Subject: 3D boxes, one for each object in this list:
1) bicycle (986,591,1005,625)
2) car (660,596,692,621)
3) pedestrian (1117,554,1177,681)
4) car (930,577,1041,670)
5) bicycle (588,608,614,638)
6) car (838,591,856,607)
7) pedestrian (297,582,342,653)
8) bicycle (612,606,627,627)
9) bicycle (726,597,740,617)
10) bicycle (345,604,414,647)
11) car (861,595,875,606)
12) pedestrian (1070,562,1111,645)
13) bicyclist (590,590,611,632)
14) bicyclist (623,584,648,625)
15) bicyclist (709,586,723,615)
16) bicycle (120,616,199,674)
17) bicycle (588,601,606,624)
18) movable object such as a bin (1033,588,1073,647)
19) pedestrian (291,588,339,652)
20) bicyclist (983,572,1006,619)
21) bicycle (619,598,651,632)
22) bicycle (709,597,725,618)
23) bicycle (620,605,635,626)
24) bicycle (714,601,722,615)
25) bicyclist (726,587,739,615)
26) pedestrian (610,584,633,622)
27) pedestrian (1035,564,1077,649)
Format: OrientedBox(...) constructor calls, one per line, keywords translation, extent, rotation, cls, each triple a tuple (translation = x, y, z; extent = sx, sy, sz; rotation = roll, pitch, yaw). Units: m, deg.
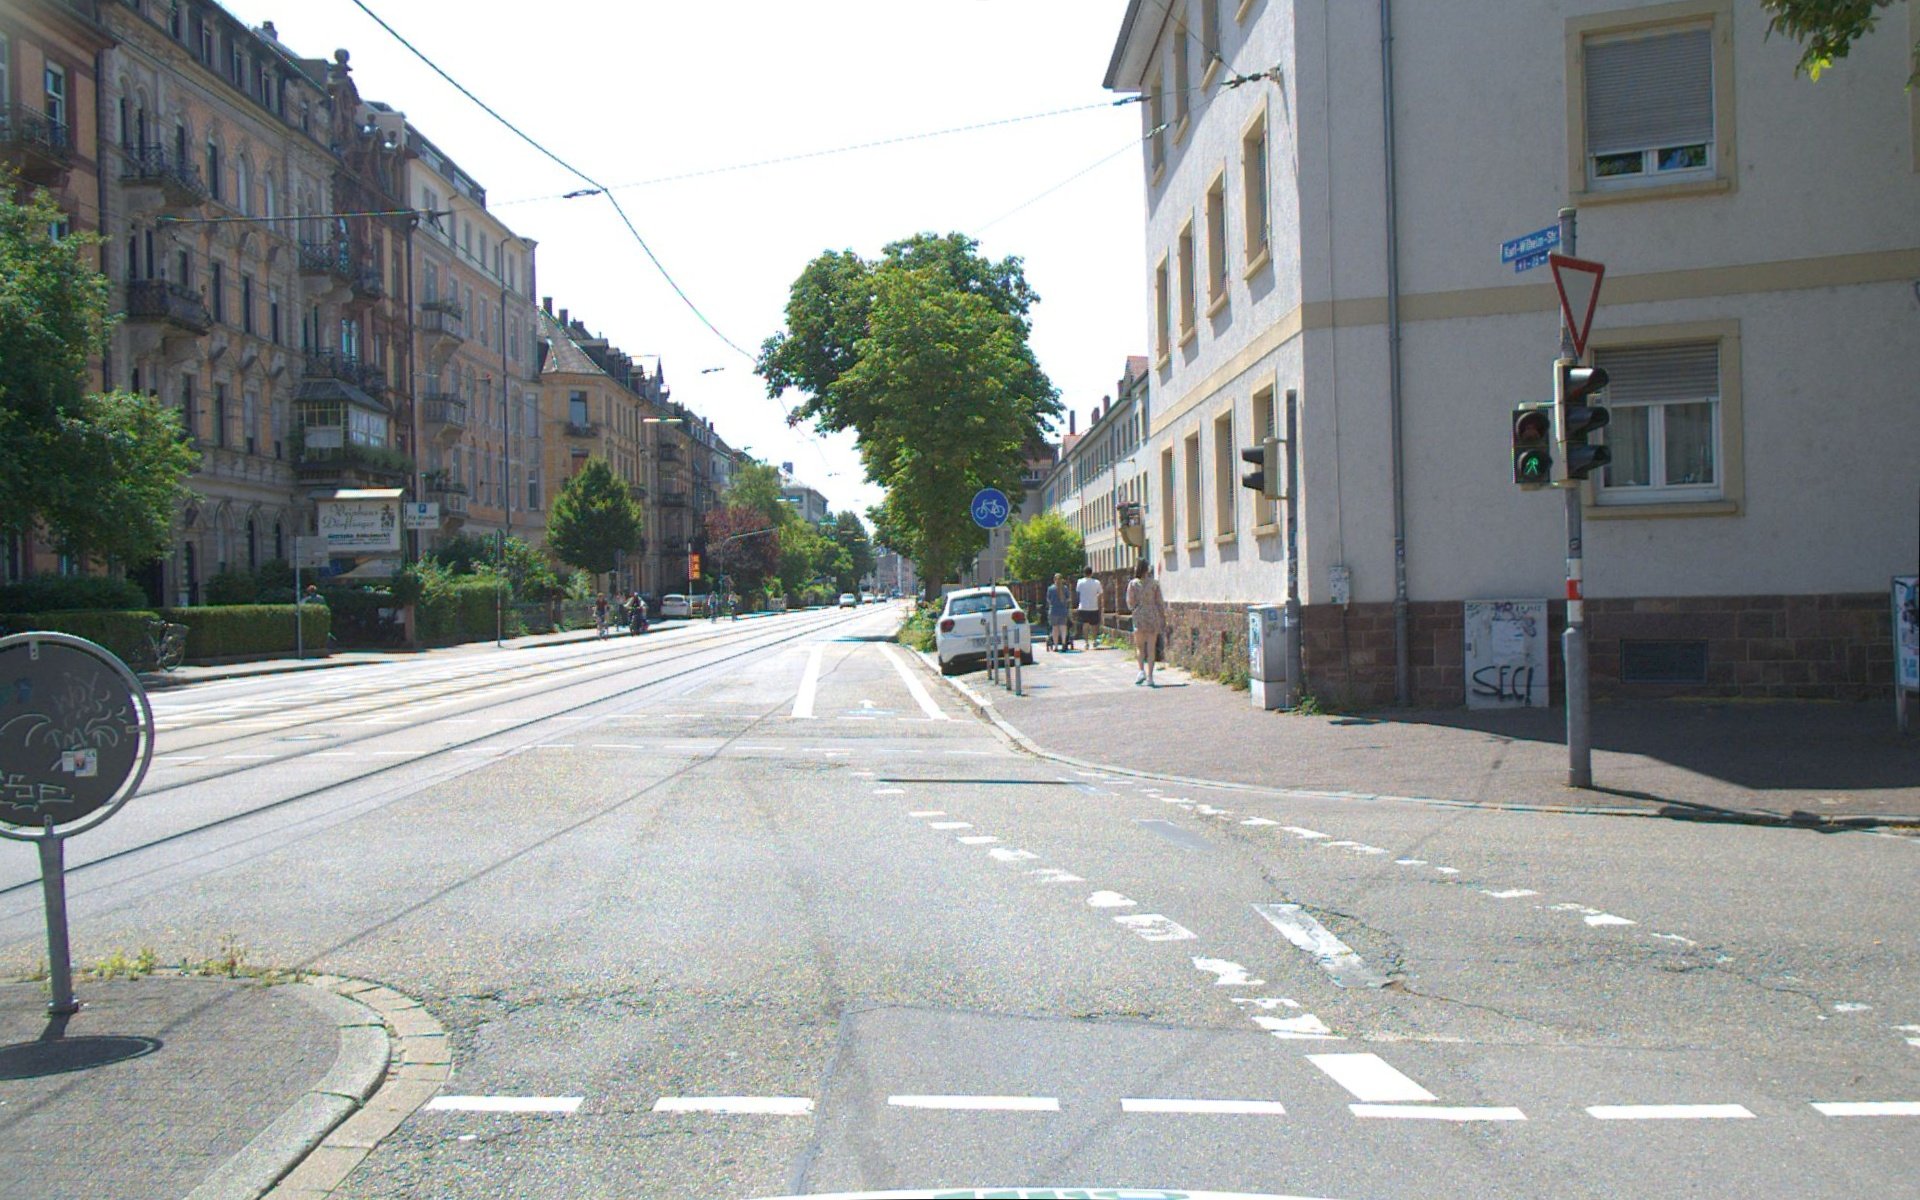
OrientedBox(translation=(1.159, 0.241, 53.894), extent=(0.590, 1.069, 1.823), rotation=(-2, 0, 1), cls="bicycle")
OrientedBox(translation=(-18.674, 0.537, 108.846), extent=(1.829, 1.628, 4.096), rotation=(0, 0, -6), cls="car")
OrientedBox(translation=(2.559, 0.232, 22.706), extent=(0.683, 1.699, 0.756), rotation=(-1, 0, -3), cls="pedestrian")
OrientedBox(translation=(0.409, 0.400, 30.936), extent=(1.742, 1.434, 4.155), rotation=(-6, 0, -2), cls="car")
OrientedBox(translation=(-13.354, 0.841, 61.564), extent=(0.556, 1.056, 1.829), rotation=(-2, 0, 0), cls="bicycle")
OrientedBox(translation=(-11.768, -0.111, 172.167), extent=(1.651, 1.475, 3.999), rotation=(-2, 1, -1), cls="car")
OrientedBox(translation=(-17.401, 0.474, 44.936), extent=(0.862, 1.889, 0.812), rotation=(-1, 0, 41), cls="pedestrian")
OrientedBox(translation=(-16.619, 0.815, 80.802), extent=(0.430, 1.000, 1.710), rotation=(-1, 0, -3), cls="bicycle")
OrientedBox(translation=(-12.971, 0.415, 94.520), extent=(0.569, 1.097, 1.890), rotation=(-3, 0, -1), cls="bicycle")
OrientedBox(translation=(-17.181, 0.742, 48.971), extent=(1.833, 1.249, 0.568), rotation=(0, 0, -4), cls="bicycle")
OrientedBox(translation=(-12.780, 0.020, 230.770), extent=(1.720, 1.449, 4.000), rotation=(-2, 0, 0), cls="car")
OrientedBox(translation=(2.760, 0.067, 35.007), extent=(0.683, 1.698, 0.756), rotation=(-4, 0, -2), cls="pedestrian")
OrientedBox(translation=(-13.368, 0.402, 61.533), extent=(0.551, 1.542, 0.892), rotation=(-2, 0, -1), cls="bicyclist")
OrientedBox(translation=(-13.250, 0.170, 67.474), extent=(0.791, 1.658, 0.980), rotation=(-2, 0, -1), cls="bicyclist")
OrientedBox(translation=(-13.906, 0.035, 94.346), extent=(0.621, 1.612, 1.028), rotation=(-3, 0, -1), cls="bicyclist")
OrientedBox(translation=(-16.489, 0.909, 34.125), extent=(0.625, 1.112, 1.932), rotation=(1, 0, 2), cls="bicycle")
OrientedBox(translation=(-16.617, 0.549, 75.658), extent=(0.486, 1.004, 1.710), rotation=(2, 0, -3), cls="bicycle")
OrientedBox(translation=(1.982, 0.364, 35.497), extent=(0.683, 1.206, 1.036), rotation=(-4, 0, -2), cls="movable object such as a bin")
OrientedBox(translation=(-17.954, 0.555, 46.042), extent=(0.890, 1.730, 0.823), rotation=(-1, 0, 26), cls="pedestrian")
OrientedBox(translation=(1.125, -0.156, 53.802), extent=(0.696, 1.477, 1.010), rotation=(-2, 0, 1), cls="bicyclist")
OrientedBox(translation=(-13.233, 0.597, 67.477), extent=(0.791, 1.293, 2.550), rotation=(-2, 0, 0), cls="bicycle")
OrientedBox(translation=(-13.889, 0.425, 94.450), extent=(0.616, 1.097, 1.875), rotation=(-3, 0, -1), cls="bicycle")
OrientedBox(translation=(-16.641, 0.782, 82.843), extent=(0.430, 1.000, 1.710), rotation=(-1, 0, -3), cls="bicycle")
OrientedBox(translation=(-17.237, 0.575, 117.936), extent=(0.445, 1.021, 1.805), rotation=(-1, 0, -4), cls="bicycle")
OrientedBox(translation=(-12.991, 0.045, 94.535), extent=(0.580, 1.571, 0.952), rotation=(-3, 0, -1), cls="bicyclist")
OrientedBox(translation=(-16.012, 0.128, 78.179), extent=(0.834, 1.753, 1.138), rotation=(1, 0, -1), cls="pedestrian")
OrientedBox(translation=(1.995, 0.130, 34.537), extent=(0.683, 1.698, 0.869), rotation=(-4, 0, -2), cls="pedestrian")
